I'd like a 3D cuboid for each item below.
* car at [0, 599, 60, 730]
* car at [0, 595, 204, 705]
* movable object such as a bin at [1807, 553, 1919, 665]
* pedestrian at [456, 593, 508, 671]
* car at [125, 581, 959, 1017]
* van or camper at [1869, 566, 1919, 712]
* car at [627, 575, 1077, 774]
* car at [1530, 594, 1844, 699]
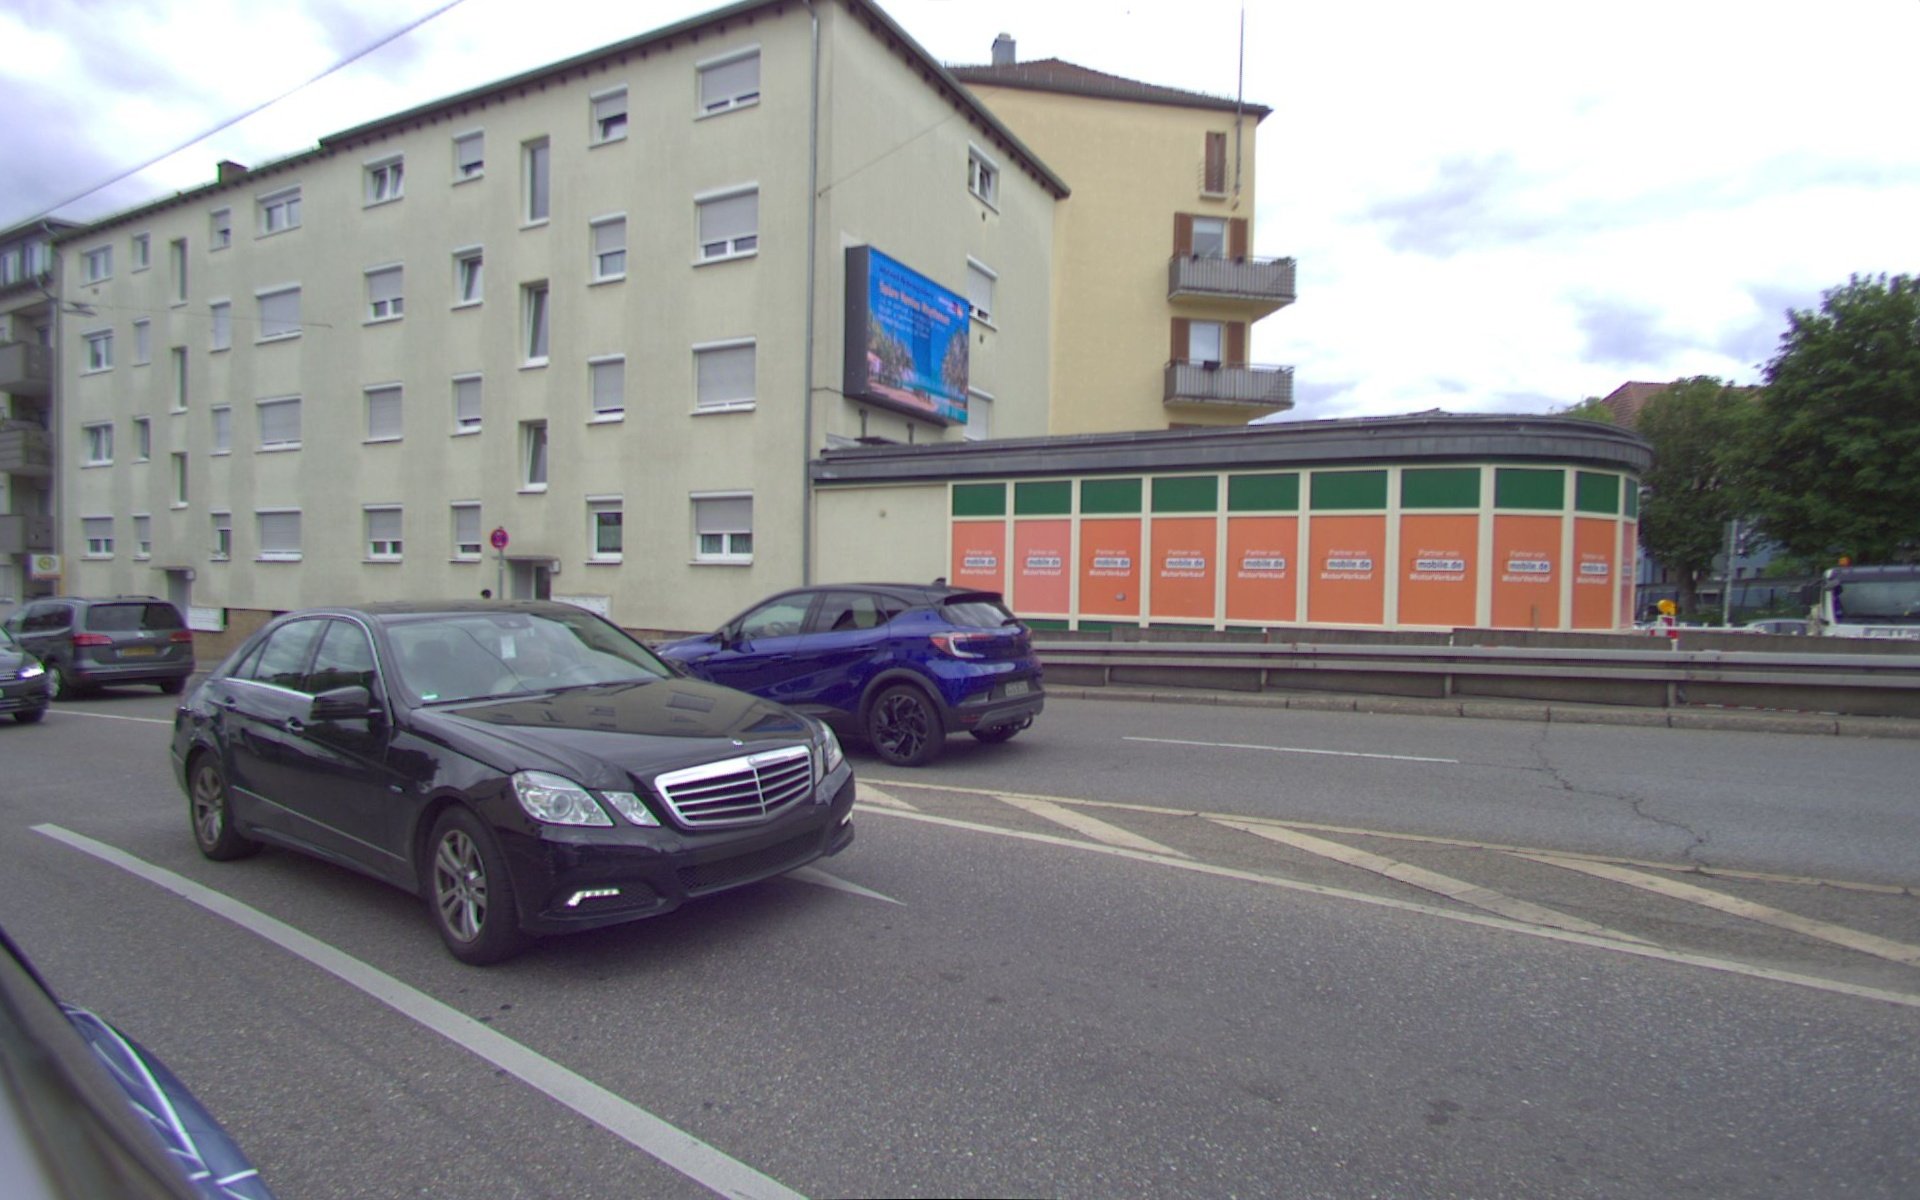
[{"bbox_3d":[-14.127,0.834,13.403,4.458,1.623,1.846,0,1,28],"label":"car"},{"bbox_3d":[-15.612,0.815,17.827,4.697,1.727,1.892,-1,-1,28],"label":"car"},{"bbox_3d":[19.601,0.141,21.411,2.393,2.087,6.173,-1,0,38],"label":"movable object such as a bin"},{"bbox_3d":[-10.343,0.675,21.912,0.775,1.649,0.684,-1,0,26],"label":"pedestrian"},{"bbox_3d":[-2.543,0.688,5.563,4.831,1.439,1.976,-1,0,36],"label":"car"},{"bbox_3d":[16.954,0.621,14.227,2.648,2.356,6.011,-1,0,-4],"label":"van or camper"},{"bbox_3d":[-1.094,0.607,9.672,4.020,1.543,1.775,-1,0,30],"label":"car"},{"bbox_3d":[12.043,0.724,16.908,3.936,1.564,2.004,-1,0,-8],"label":"car"}]
